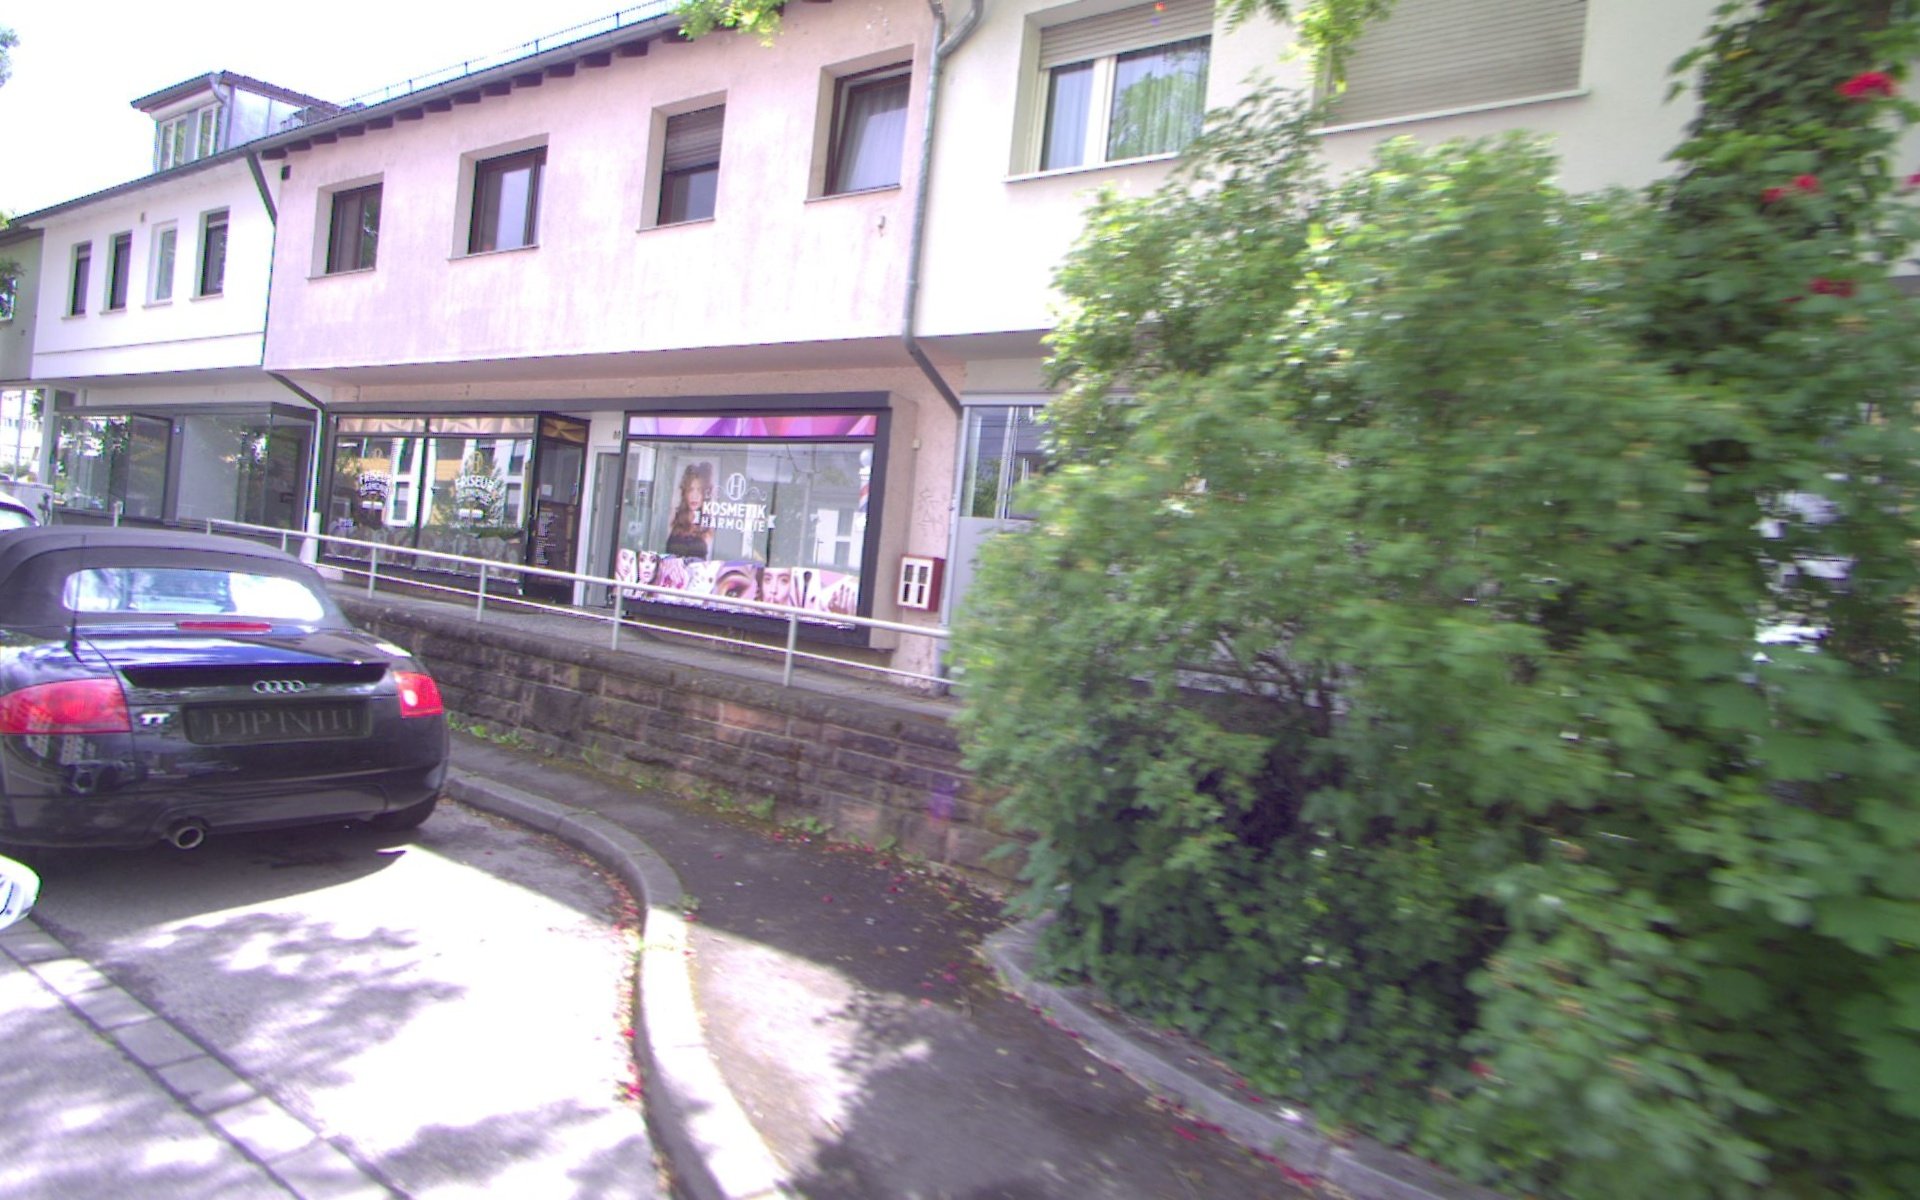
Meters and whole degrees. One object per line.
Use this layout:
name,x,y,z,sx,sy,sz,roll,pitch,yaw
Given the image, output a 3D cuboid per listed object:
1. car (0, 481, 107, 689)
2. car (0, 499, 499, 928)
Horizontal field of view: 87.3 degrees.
car,-8.539,-0.296,7.764,3.833,1.461,1.772,7,2,30
car,-4.277,0.253,5.095,3.938,1.367,1.770,7,2,36
